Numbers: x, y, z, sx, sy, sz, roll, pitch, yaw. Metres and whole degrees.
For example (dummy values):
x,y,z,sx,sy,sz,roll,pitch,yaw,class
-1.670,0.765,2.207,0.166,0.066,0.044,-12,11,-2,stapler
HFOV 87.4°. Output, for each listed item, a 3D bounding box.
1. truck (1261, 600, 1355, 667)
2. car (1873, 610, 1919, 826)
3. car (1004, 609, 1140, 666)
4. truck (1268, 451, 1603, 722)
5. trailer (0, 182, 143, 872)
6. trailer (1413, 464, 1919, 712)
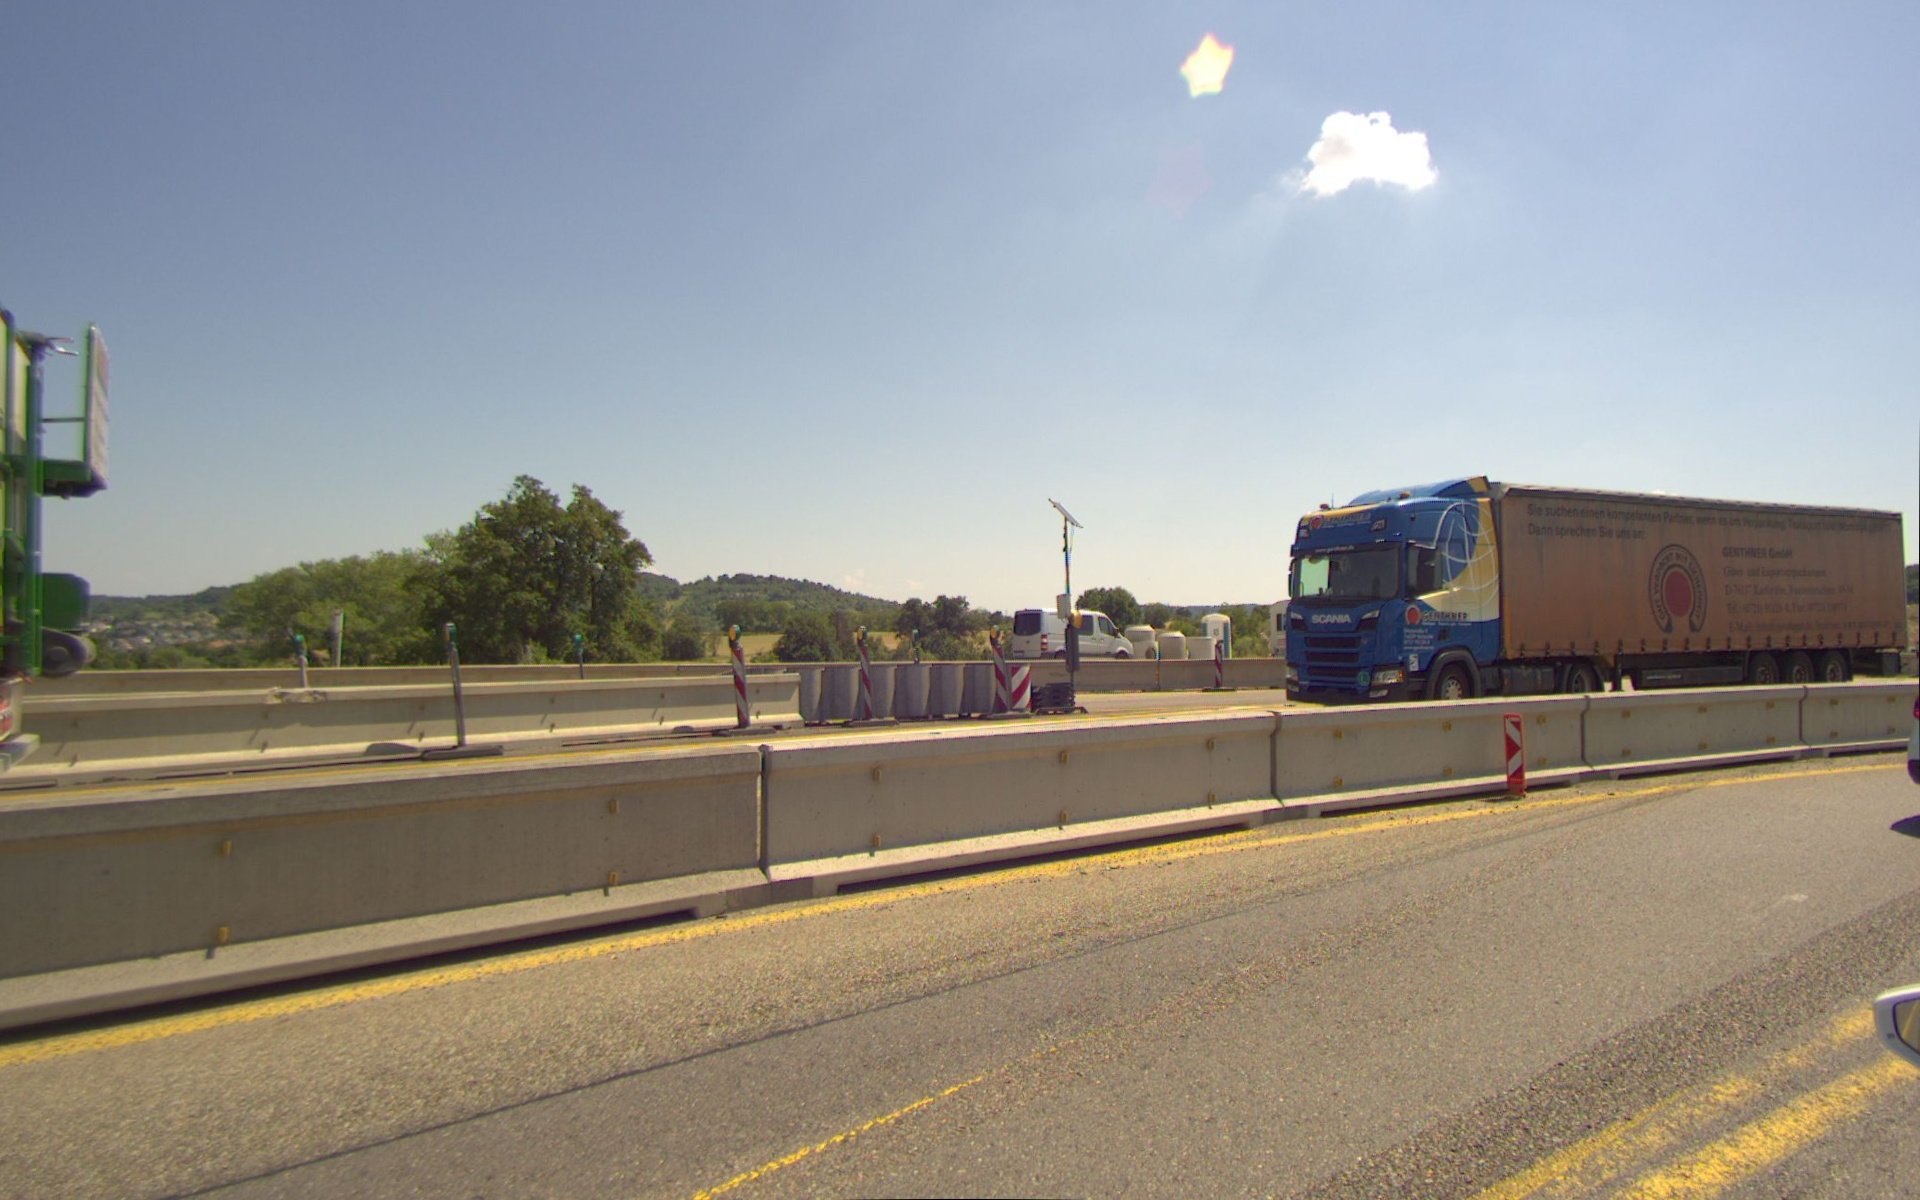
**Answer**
x,y,z,sx,sy,sz,roll,pitch,yaw,class
16.846,1.569,48.565,4.225,3.084,2.324,1,-1,-37,truck
9.444,0.918,7.867,5.009,1.555,1.788,1,0,-28,car
4.340,1.396,38.524,5.064,2.043,2.189,1,-1,-38,car
8.408,-0.150,17.701,5.475,4.135,2.534,1,0,-28,truck
-11.073,-0.561,3.658,12.381,4.207,2.336,1,-1,-37,trailer
15.165,-0.069,20.958,12.886,4.207,2.579,1,0,-25,trailer
